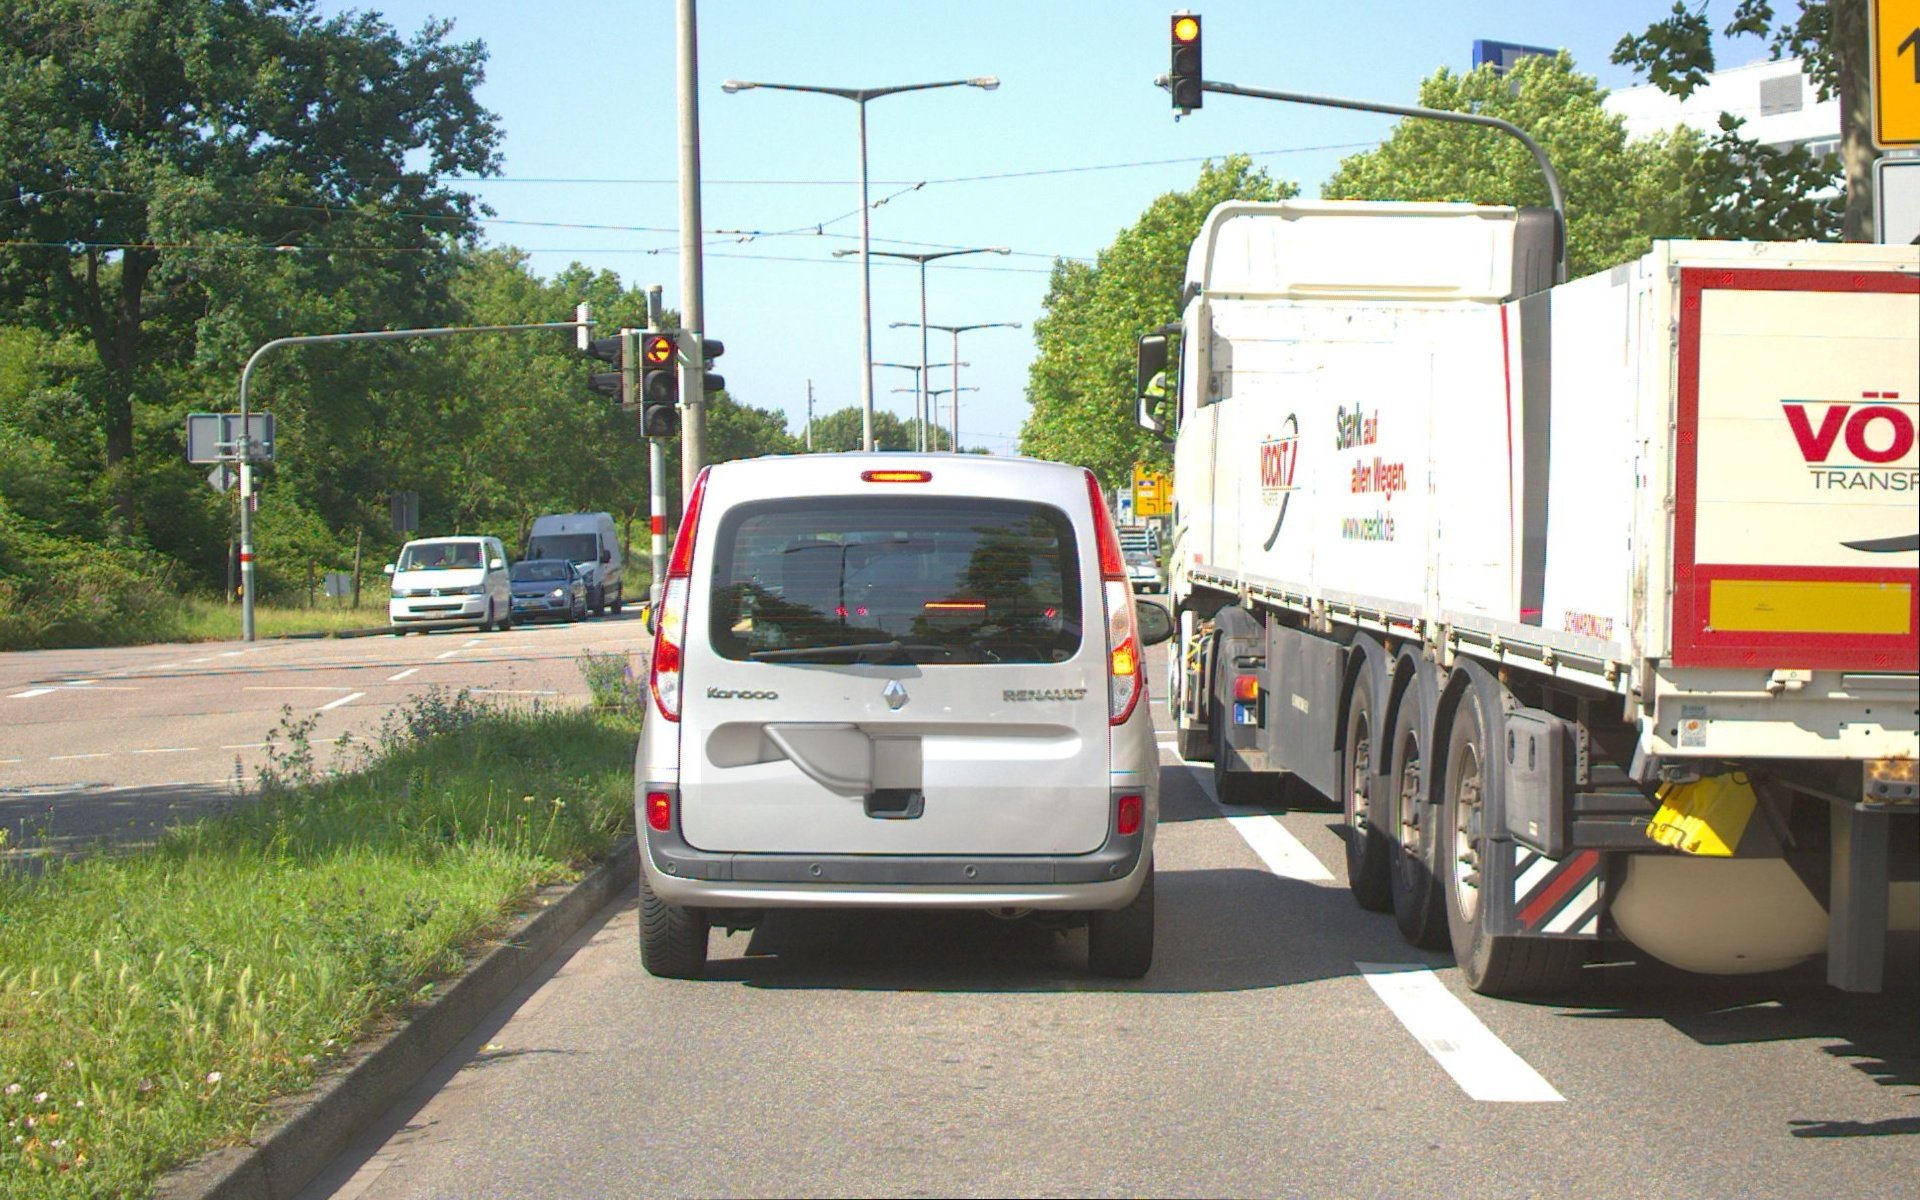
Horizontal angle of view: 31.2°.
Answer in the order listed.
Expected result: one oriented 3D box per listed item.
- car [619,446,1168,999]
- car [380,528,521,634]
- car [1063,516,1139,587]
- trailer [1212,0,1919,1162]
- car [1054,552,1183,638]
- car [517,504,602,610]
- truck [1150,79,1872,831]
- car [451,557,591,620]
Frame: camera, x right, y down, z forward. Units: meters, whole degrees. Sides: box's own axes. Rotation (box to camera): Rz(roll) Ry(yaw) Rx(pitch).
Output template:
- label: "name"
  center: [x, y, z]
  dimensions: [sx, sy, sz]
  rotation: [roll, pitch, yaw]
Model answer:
- label: "car"
  center: [-0.229, 0.368, 12.983]
  dimensions: [1.749, 1.766, 3.949]
  rotation: [0, 1, 0]
- label: "car"
  center: [-9.843, -0.390, 66.753]
  dimensions: [1.993, 1.884, 4.988]
  rotation: [-3, 1, -1]
- label: "car"
  center: [4.065, -1.398, 99.825]
  dimensions: [1.993, 2.007, 4.000]
  rotation: [0, 1, -1]
- label: "trailer"
  center: [2.964, -0.665, 13.894]
  dimensions: [3.016, 3.728, 12.240]
  rotation: [0, 1, 0]
- label: "car"
  center: [3.083, -0.120, 67.711]
  dimensions: [1.993, 1.634, 4.001]
  rotation: [0, 1, -5]
- label: "car"
  center: [-10.160, -1.101, 87.460]
  dimensions: [2.058, 2.605, 5.871]
  rotation: [0, 1, -6]
- label: "truck"
  center: [2.960, -0.770, 20.931]
  dimensions: [3.071, 3.745, 7.477]
  rotation: [0, 1, -1]
- label: "car"
  center: [-10.204, -0.290, 79.657]
  dimensions: [1.911, 1.404, 4.228]
  rotation: [0, 1, -27]
